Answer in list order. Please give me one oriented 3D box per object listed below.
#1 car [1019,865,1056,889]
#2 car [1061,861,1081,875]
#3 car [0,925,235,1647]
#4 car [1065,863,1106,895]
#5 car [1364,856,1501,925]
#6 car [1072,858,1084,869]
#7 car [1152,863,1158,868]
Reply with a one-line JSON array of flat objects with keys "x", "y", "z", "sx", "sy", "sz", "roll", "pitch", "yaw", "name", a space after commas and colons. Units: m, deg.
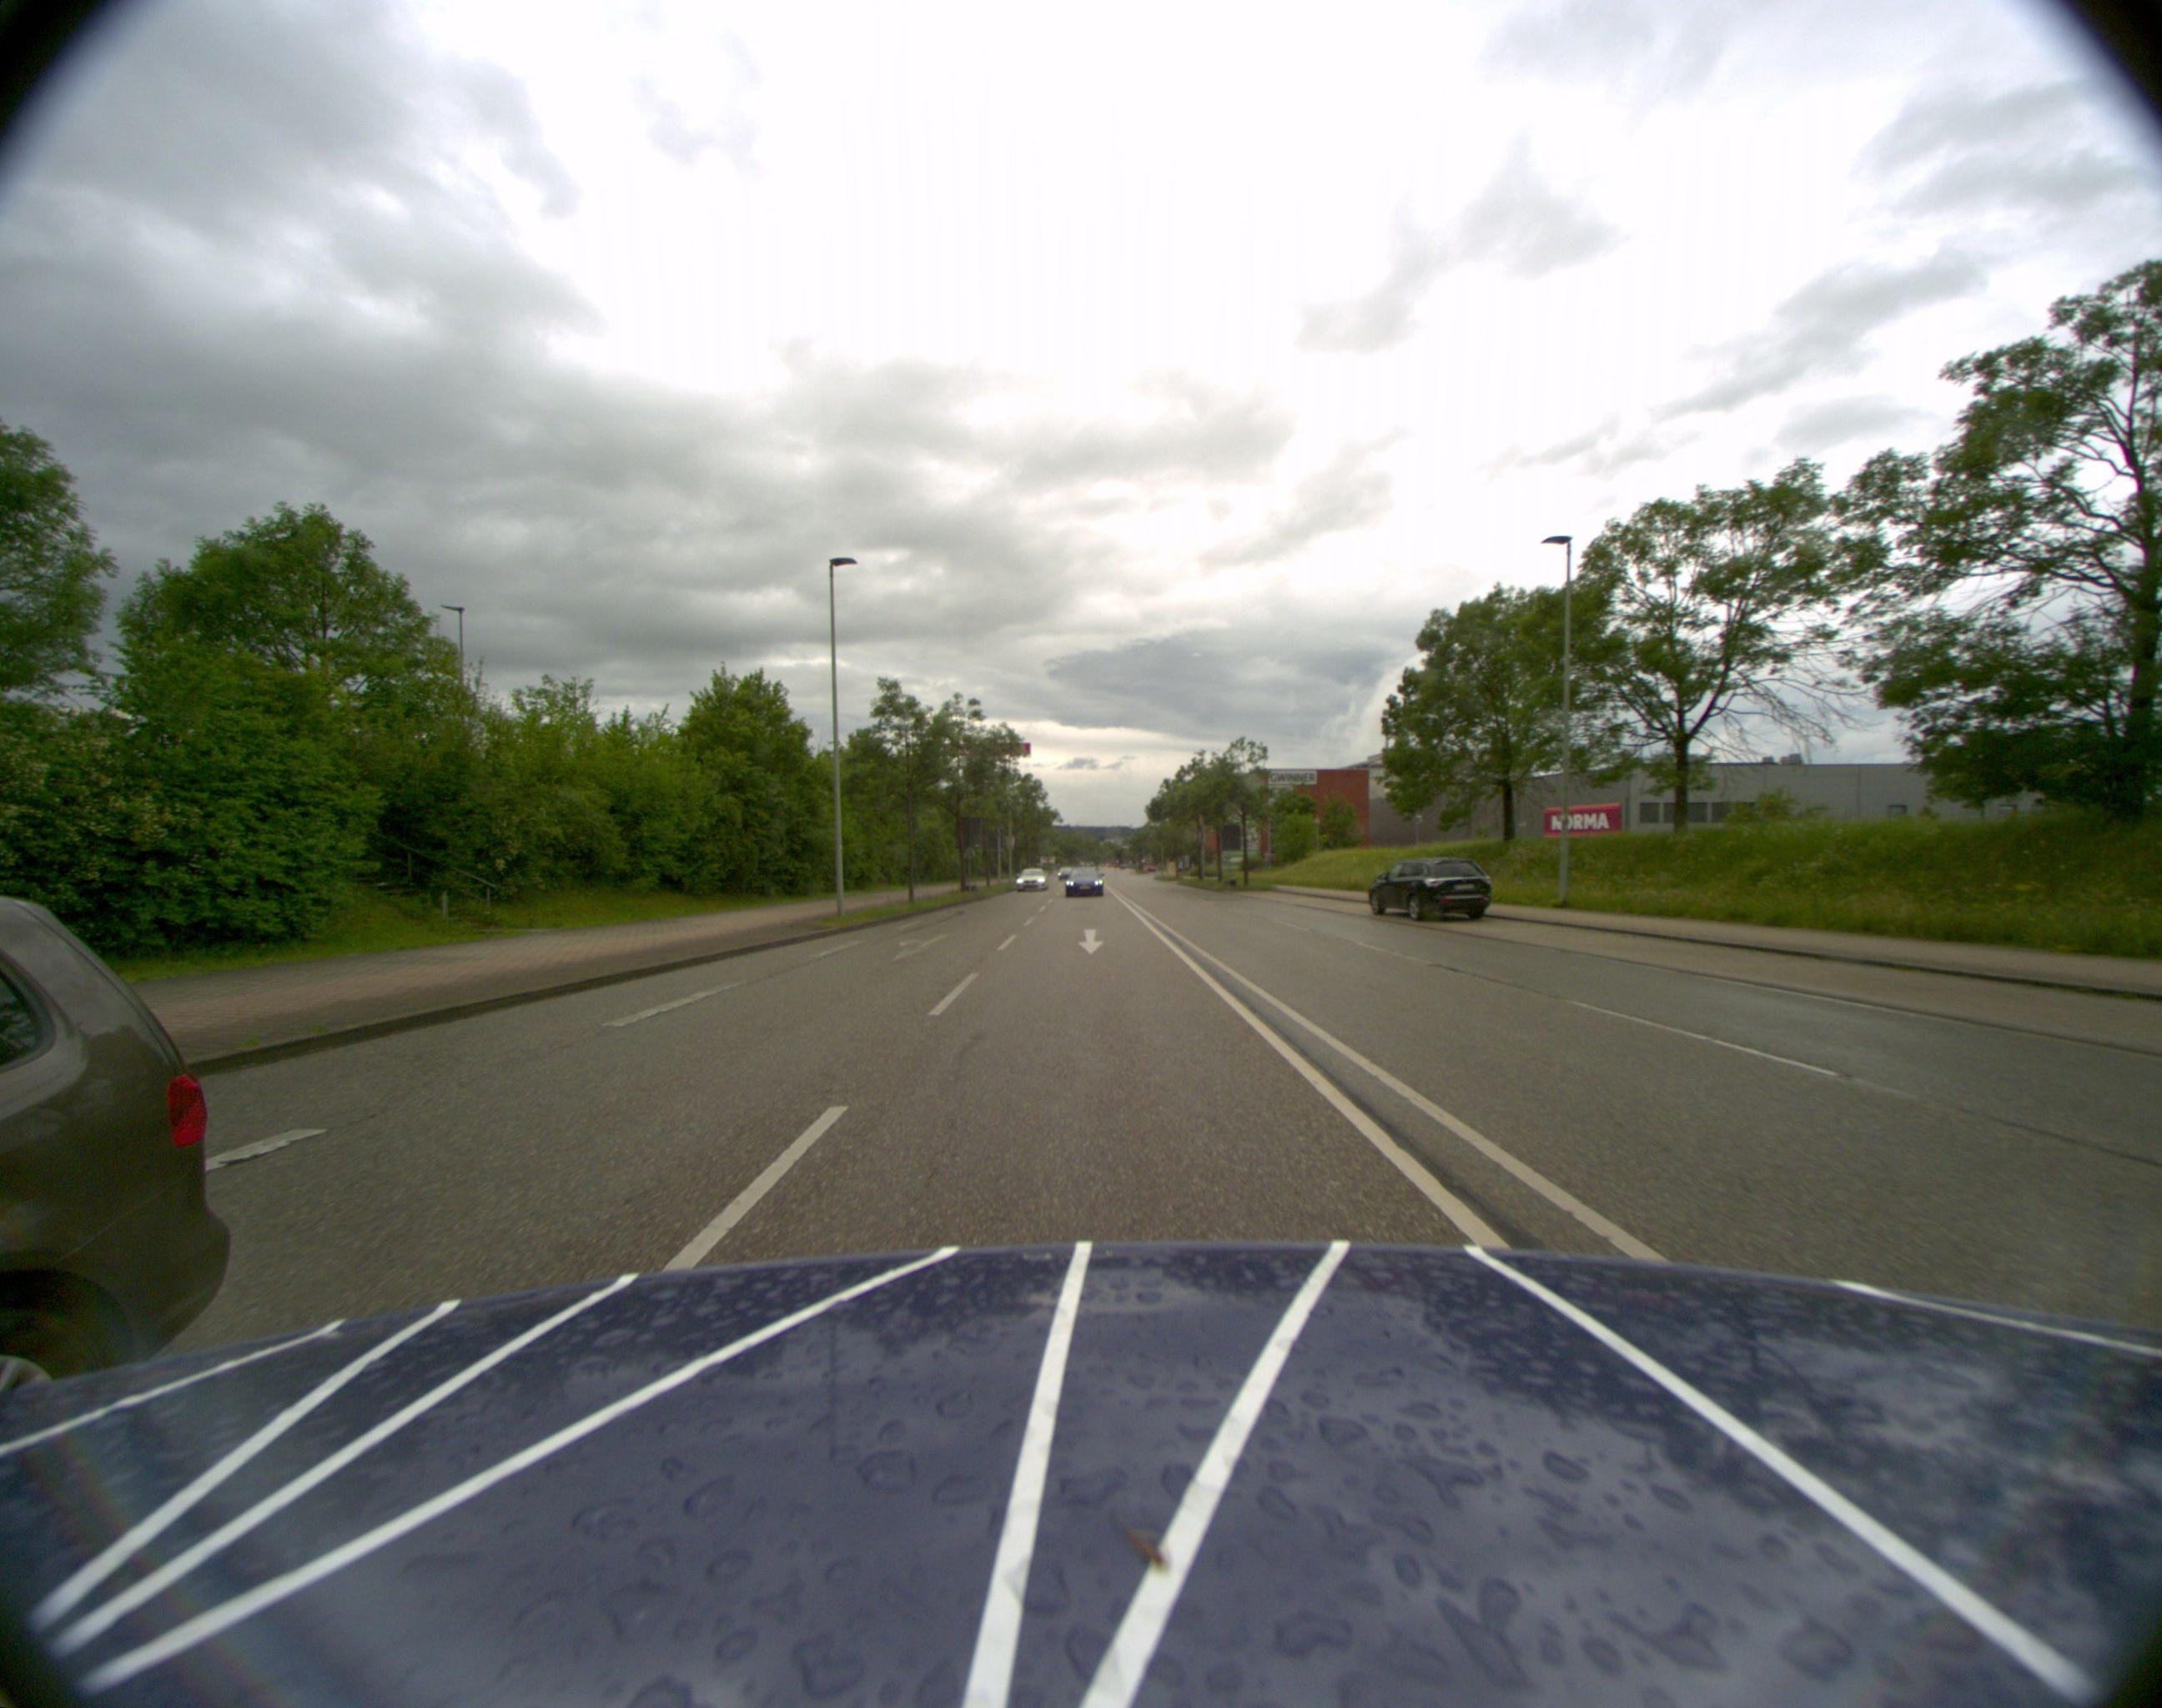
[{"x": -2.835, "y": 1.499, "z": 50.360, "sx": 1.863, "sy": 1.473, "sz": 4.002, "roll": -1, "pitch": 0, "yaw": 5, "name": "car"}, {"x": -1.211, "y": 1.703, "z": 94.379, "sx": 2.113, "sy": 1.610, "sz": 4.841, "roll": -1, "pitch": 0, "yaw": 3, "name": "car"}, {"x": -3.329, "y": 1.015, "z": 0.116, "sx": 1.718, "sy": 1.587, "sz": 4.130, "roll": -2, "pitch": 0, "yaw": 0, "name": "car"}, {"x": 0.280, "y": 1.204, "z": 38.680, "sx": 1.827, "sy": 1.473, "sz": 4.842, "roll": -2, "pitch": -1, "yaw": 3, "name": "car"}, {"x": 9.661, "y": 0.928, "z": 21.324, "sx": 1.730, "sy": 1.658, "sz": 4.488, "roll": -2, "pitch": 0, "yaw": 1, "name": "car"}, {"x": -0.510, "y": 1.487, "z": 123.002, "sx": 1.853, "sy": 1.565, "sz": 3.999, "roll": -2, "pitch": 1, "yaw": 0, "name": "car"}, {"x": 20.435, "y": 3.132, "z": 209.155, "sx": 1.740, "sy": 1.445, "sz": 4.002, "roll": 1, "pitch": 0, "yaw": 6, "name": "car"}]
